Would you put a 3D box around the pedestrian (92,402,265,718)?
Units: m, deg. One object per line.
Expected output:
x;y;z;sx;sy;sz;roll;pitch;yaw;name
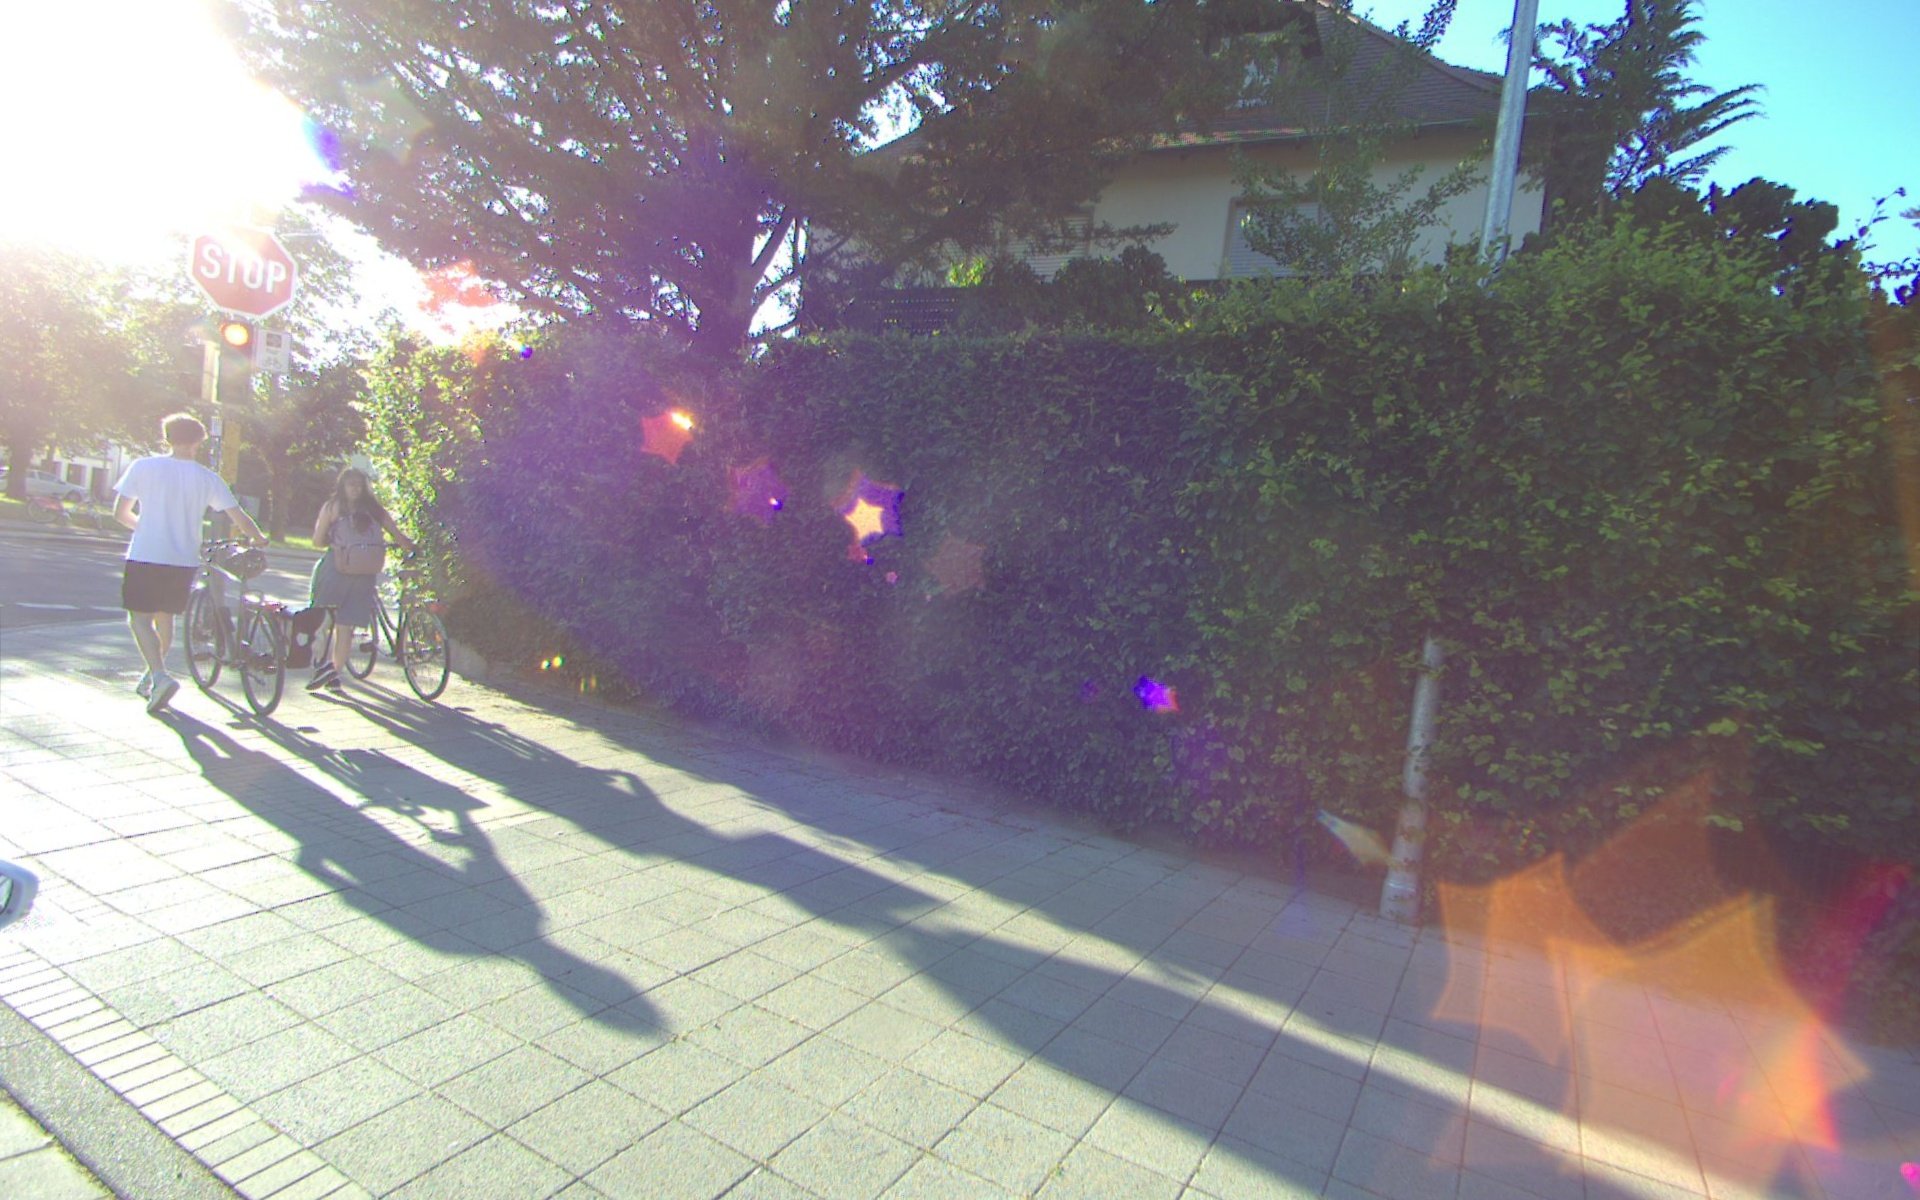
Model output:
-5.092;-0.272;6.544;0.868;1.892;0.668;9;6;39;pedestrian

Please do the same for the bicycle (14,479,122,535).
-23.420;-2.429;26.457;0.609;1.146;1.956;8;1;32;bicycle

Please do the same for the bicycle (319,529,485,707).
-4.353;0.107;7.796;1.574;1.158;0.486;9;4;38;bicycle

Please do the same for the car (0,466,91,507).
-46.599;-5.752;50.677;1.569;1.445;3.854;8;0;26;car

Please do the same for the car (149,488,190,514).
-55.095;-6.878;70.133;1.651;1.435;3.514;7;0;-30;car

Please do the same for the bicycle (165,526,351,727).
-4.845;0.135;6.895;1.763;1.112;0.486;9;4;37;bicycle

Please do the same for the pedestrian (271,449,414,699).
-4.575;-0.192;7.460;0.613;1.733;0.668;9;6;37;pedestrian
